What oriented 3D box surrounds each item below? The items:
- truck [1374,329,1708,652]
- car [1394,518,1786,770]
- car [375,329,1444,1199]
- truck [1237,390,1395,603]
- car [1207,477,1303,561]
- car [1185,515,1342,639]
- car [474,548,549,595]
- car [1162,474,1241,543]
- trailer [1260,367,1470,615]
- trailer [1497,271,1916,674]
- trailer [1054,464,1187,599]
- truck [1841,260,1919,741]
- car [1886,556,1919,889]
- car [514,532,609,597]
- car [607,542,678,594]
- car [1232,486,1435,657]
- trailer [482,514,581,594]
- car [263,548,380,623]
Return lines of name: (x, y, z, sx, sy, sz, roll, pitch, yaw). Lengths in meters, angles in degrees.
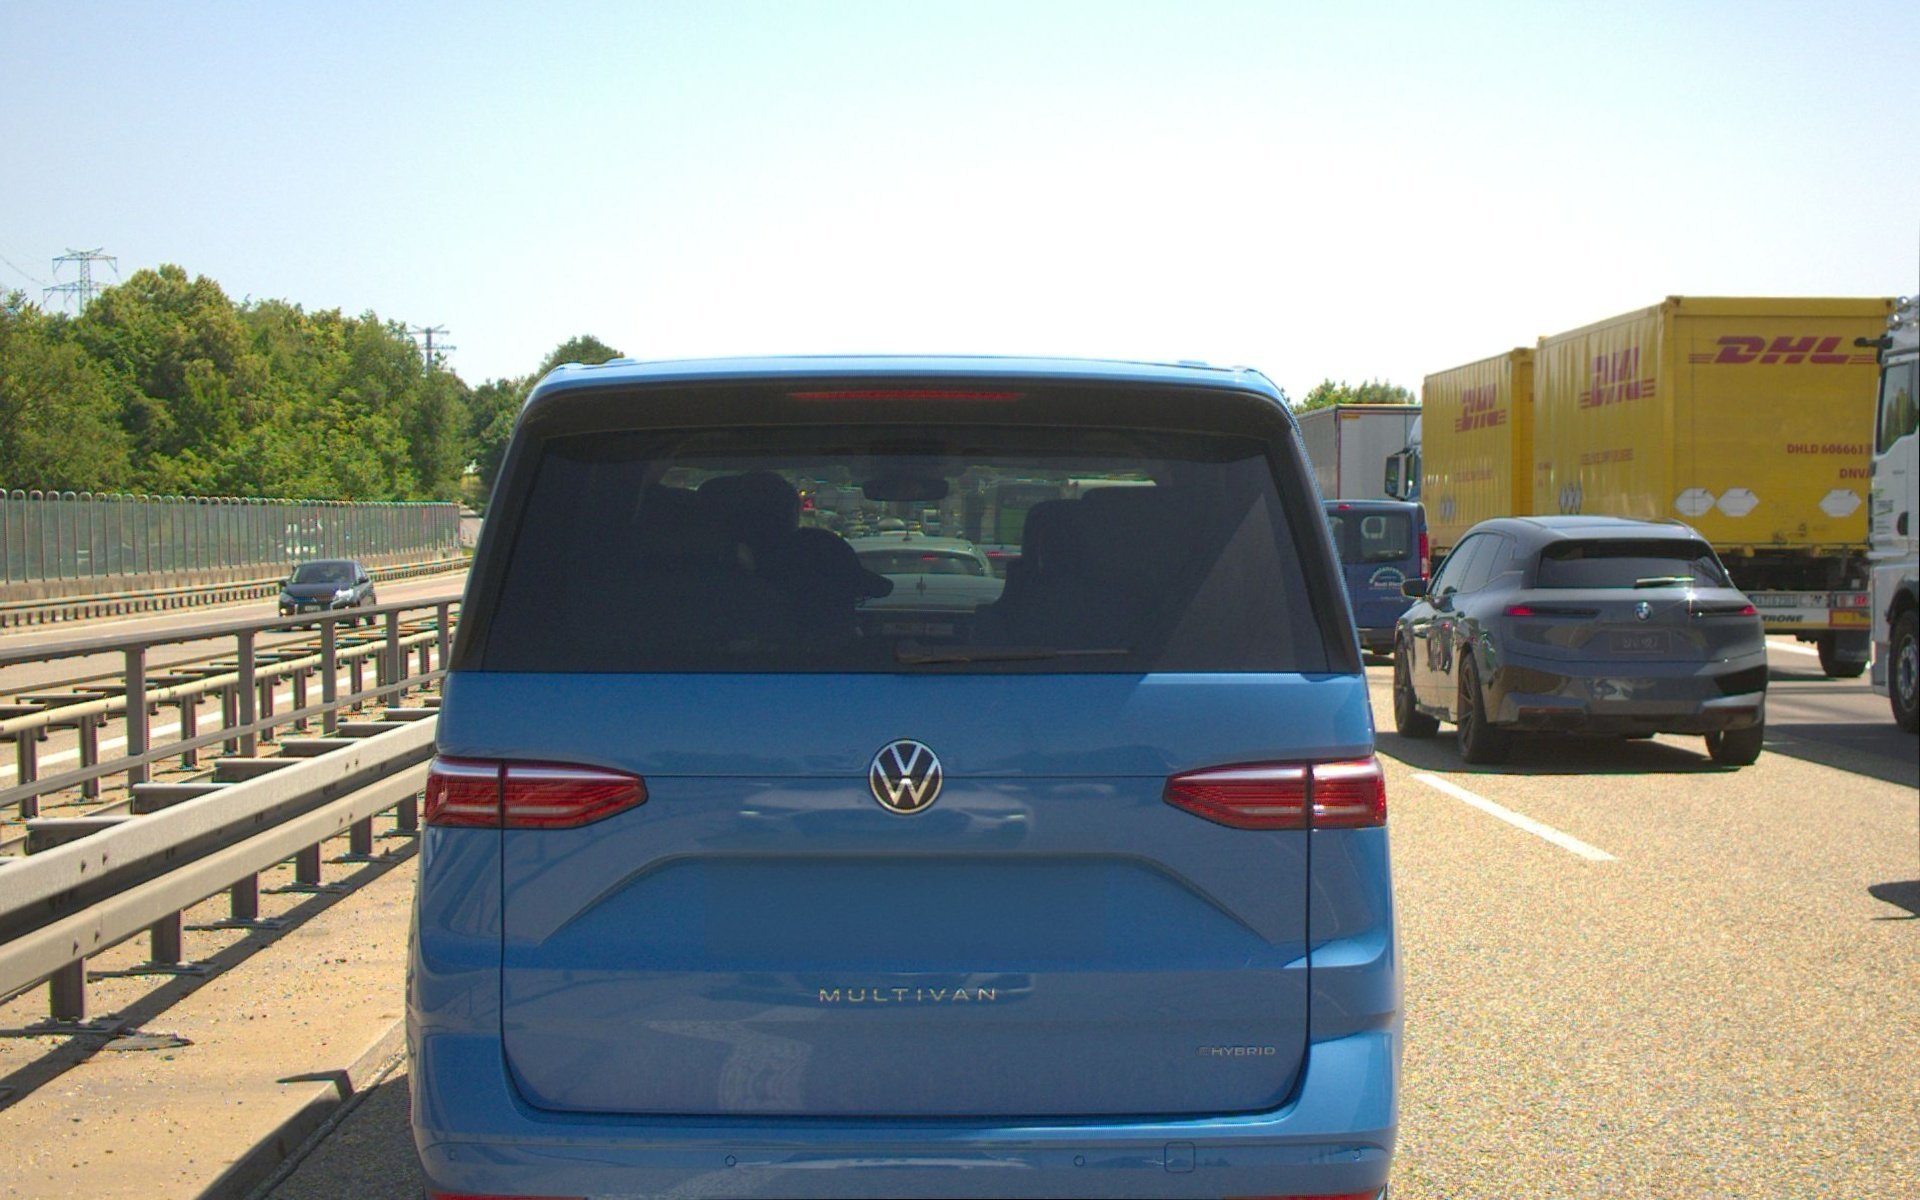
truck: (8.335, -1.532, 50.915, 2.836, 4.228, 11.011, 1, 1, -1)
car: (4.372, 0.246, 24.539, 1.962, 1.639, 4.293, 0, 1, -1)
car: (-0.108, 0.441, 7.957, 1.820, 1.851, 4.075, 1, 1, -1)
truck: (7.781, -2.223, 75.899, 2.667, 4.469, 6.850, 1, 1, 0)
car: (7.326, -1.991, 85.681, 1.993, 2.007, 4.000, 1, 1, 0)
car: (4.592, -0.374, 52.537, 1.993, 1.809, 4.000, 0, 1, -1)
car: (-14.456, -0.930, 110.996, 1.775, 1.403, 4.683, -2, 1, 0)
car: (7.228, -2.739, 103.247, 1.993, 2.007, 4.461, -1, 1, 0)
trailer: (7.894, -2.099, 68.473, 2.637, 4.501, 11.302, 1, 1, -1)
trailer: (8.594, -1.398, 40.843, 2.864, 4.224, 9.012, 1, 1, -1)
trailer: (3.728, -1.598, 82.113, 2.569, 2.980, 10.663, 1, 1, 0)
truck: (8.651, -0.691, 22.665, 2.656, 3.635, 11.011, 0, 1, -1)
car: (5.111, 0.565, 13.413, 1.788, 1.450, 4.293, 0, 1, -1)
car: (-9.586, -0.857, 82.902, 1.791, 1.473, 3.989, -2, 1, 0)
car: (-9.693, -0.996, 105.180, 1.668, 1.443, 4.000, -3, 1, 1)
car: (4.517, -0.369, 42.163, 1.962, 1.986, 4.293, 0, 1, -1)
trailer: (-14.502, -1.595, 116.750, 2.493, 2.540, 6.774, -2, 1, 0)
car: (-13.810, -0.346, 74.565, 1.729, 1.486, 4.420, -2, 1, -1)
